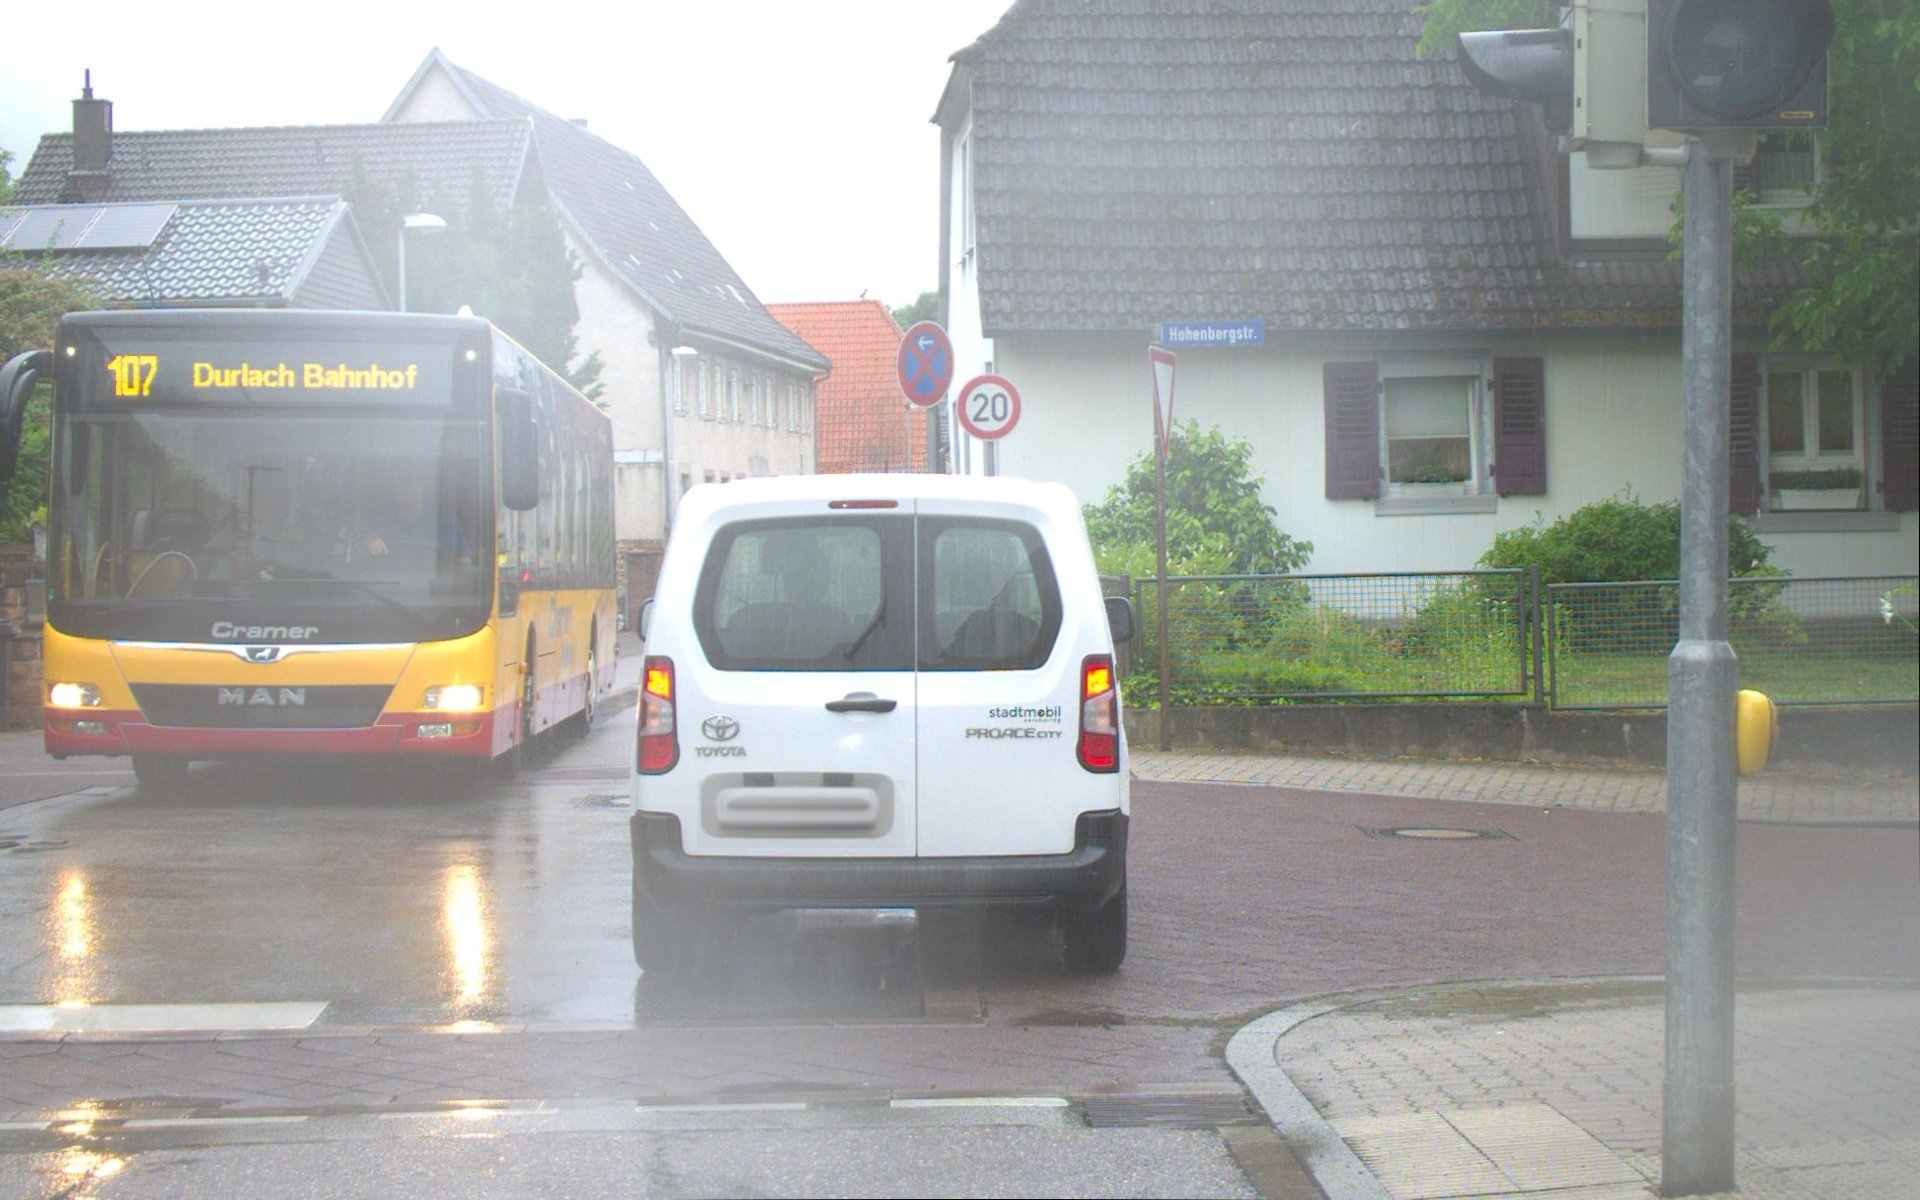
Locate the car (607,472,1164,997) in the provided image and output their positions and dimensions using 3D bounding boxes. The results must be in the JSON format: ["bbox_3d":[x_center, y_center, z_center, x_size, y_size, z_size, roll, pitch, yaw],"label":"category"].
[{"bbox_3d":[-0.317,0.431,13.661,1.894,1.787,3.814,0,1,-2],"label":"car"}]

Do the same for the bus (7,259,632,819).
[{"bbox_3d":[-4.010,-0.578,24.543,2.649,2.989,12.195,0,2,-2],"label":"bus"}]

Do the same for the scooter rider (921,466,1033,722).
[{"bbox_3d":[0.120,-0.051,23.645,0.731,1.727,0.518,-1,2,1],"label":"scooter rider"}]
